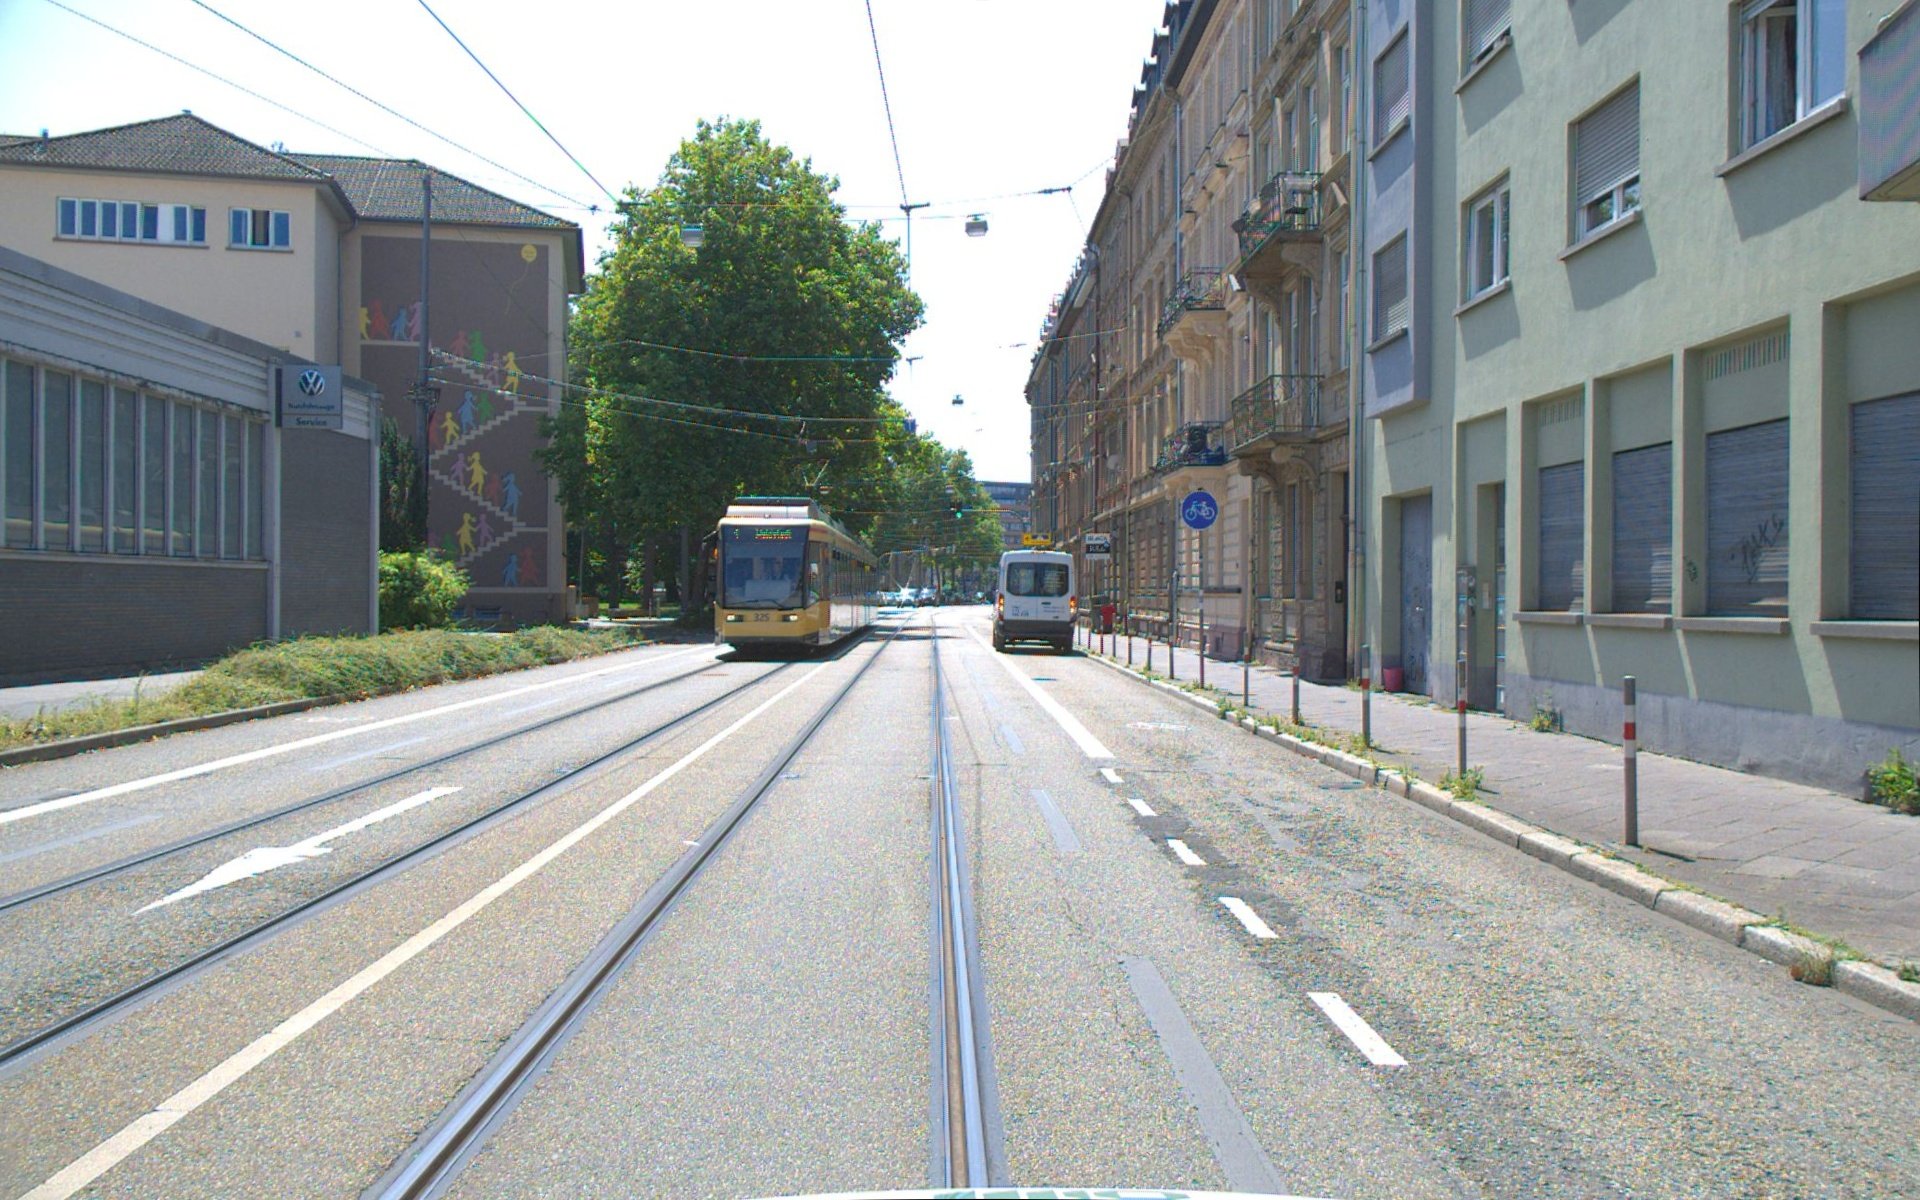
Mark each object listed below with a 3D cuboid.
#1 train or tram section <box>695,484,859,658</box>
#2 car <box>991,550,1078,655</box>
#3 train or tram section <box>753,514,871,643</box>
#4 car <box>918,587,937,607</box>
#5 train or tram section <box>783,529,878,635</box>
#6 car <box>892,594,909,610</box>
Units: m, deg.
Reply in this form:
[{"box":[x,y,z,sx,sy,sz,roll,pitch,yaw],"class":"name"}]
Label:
[{"box":[-4.269,-0.643,41.570,2.901,3.643,13.419,0,0,-1],"class":"train or tram section"},{"box":[1.903,0.054,43.806,2.025,2.544,5.454,1,0,0],"class":"car"},{"box":[-4.569,-0.651,53.739,2.901,3.643,13.419,0,0,-1],"class":"train or tram section"},{"box":[-3.210,-0.262,161.713,1.641,1.892,3.997,1,0,-4],"class":"car"},{"box":[-4.818,-0.658,63.980,2.901,3.643,13.419,0,0,-1],"class":"train or tram section"},{"box":[-5.586,0.177,154.933,1.498,1.433,3.487,1,0,-3],"class":"car"}]
